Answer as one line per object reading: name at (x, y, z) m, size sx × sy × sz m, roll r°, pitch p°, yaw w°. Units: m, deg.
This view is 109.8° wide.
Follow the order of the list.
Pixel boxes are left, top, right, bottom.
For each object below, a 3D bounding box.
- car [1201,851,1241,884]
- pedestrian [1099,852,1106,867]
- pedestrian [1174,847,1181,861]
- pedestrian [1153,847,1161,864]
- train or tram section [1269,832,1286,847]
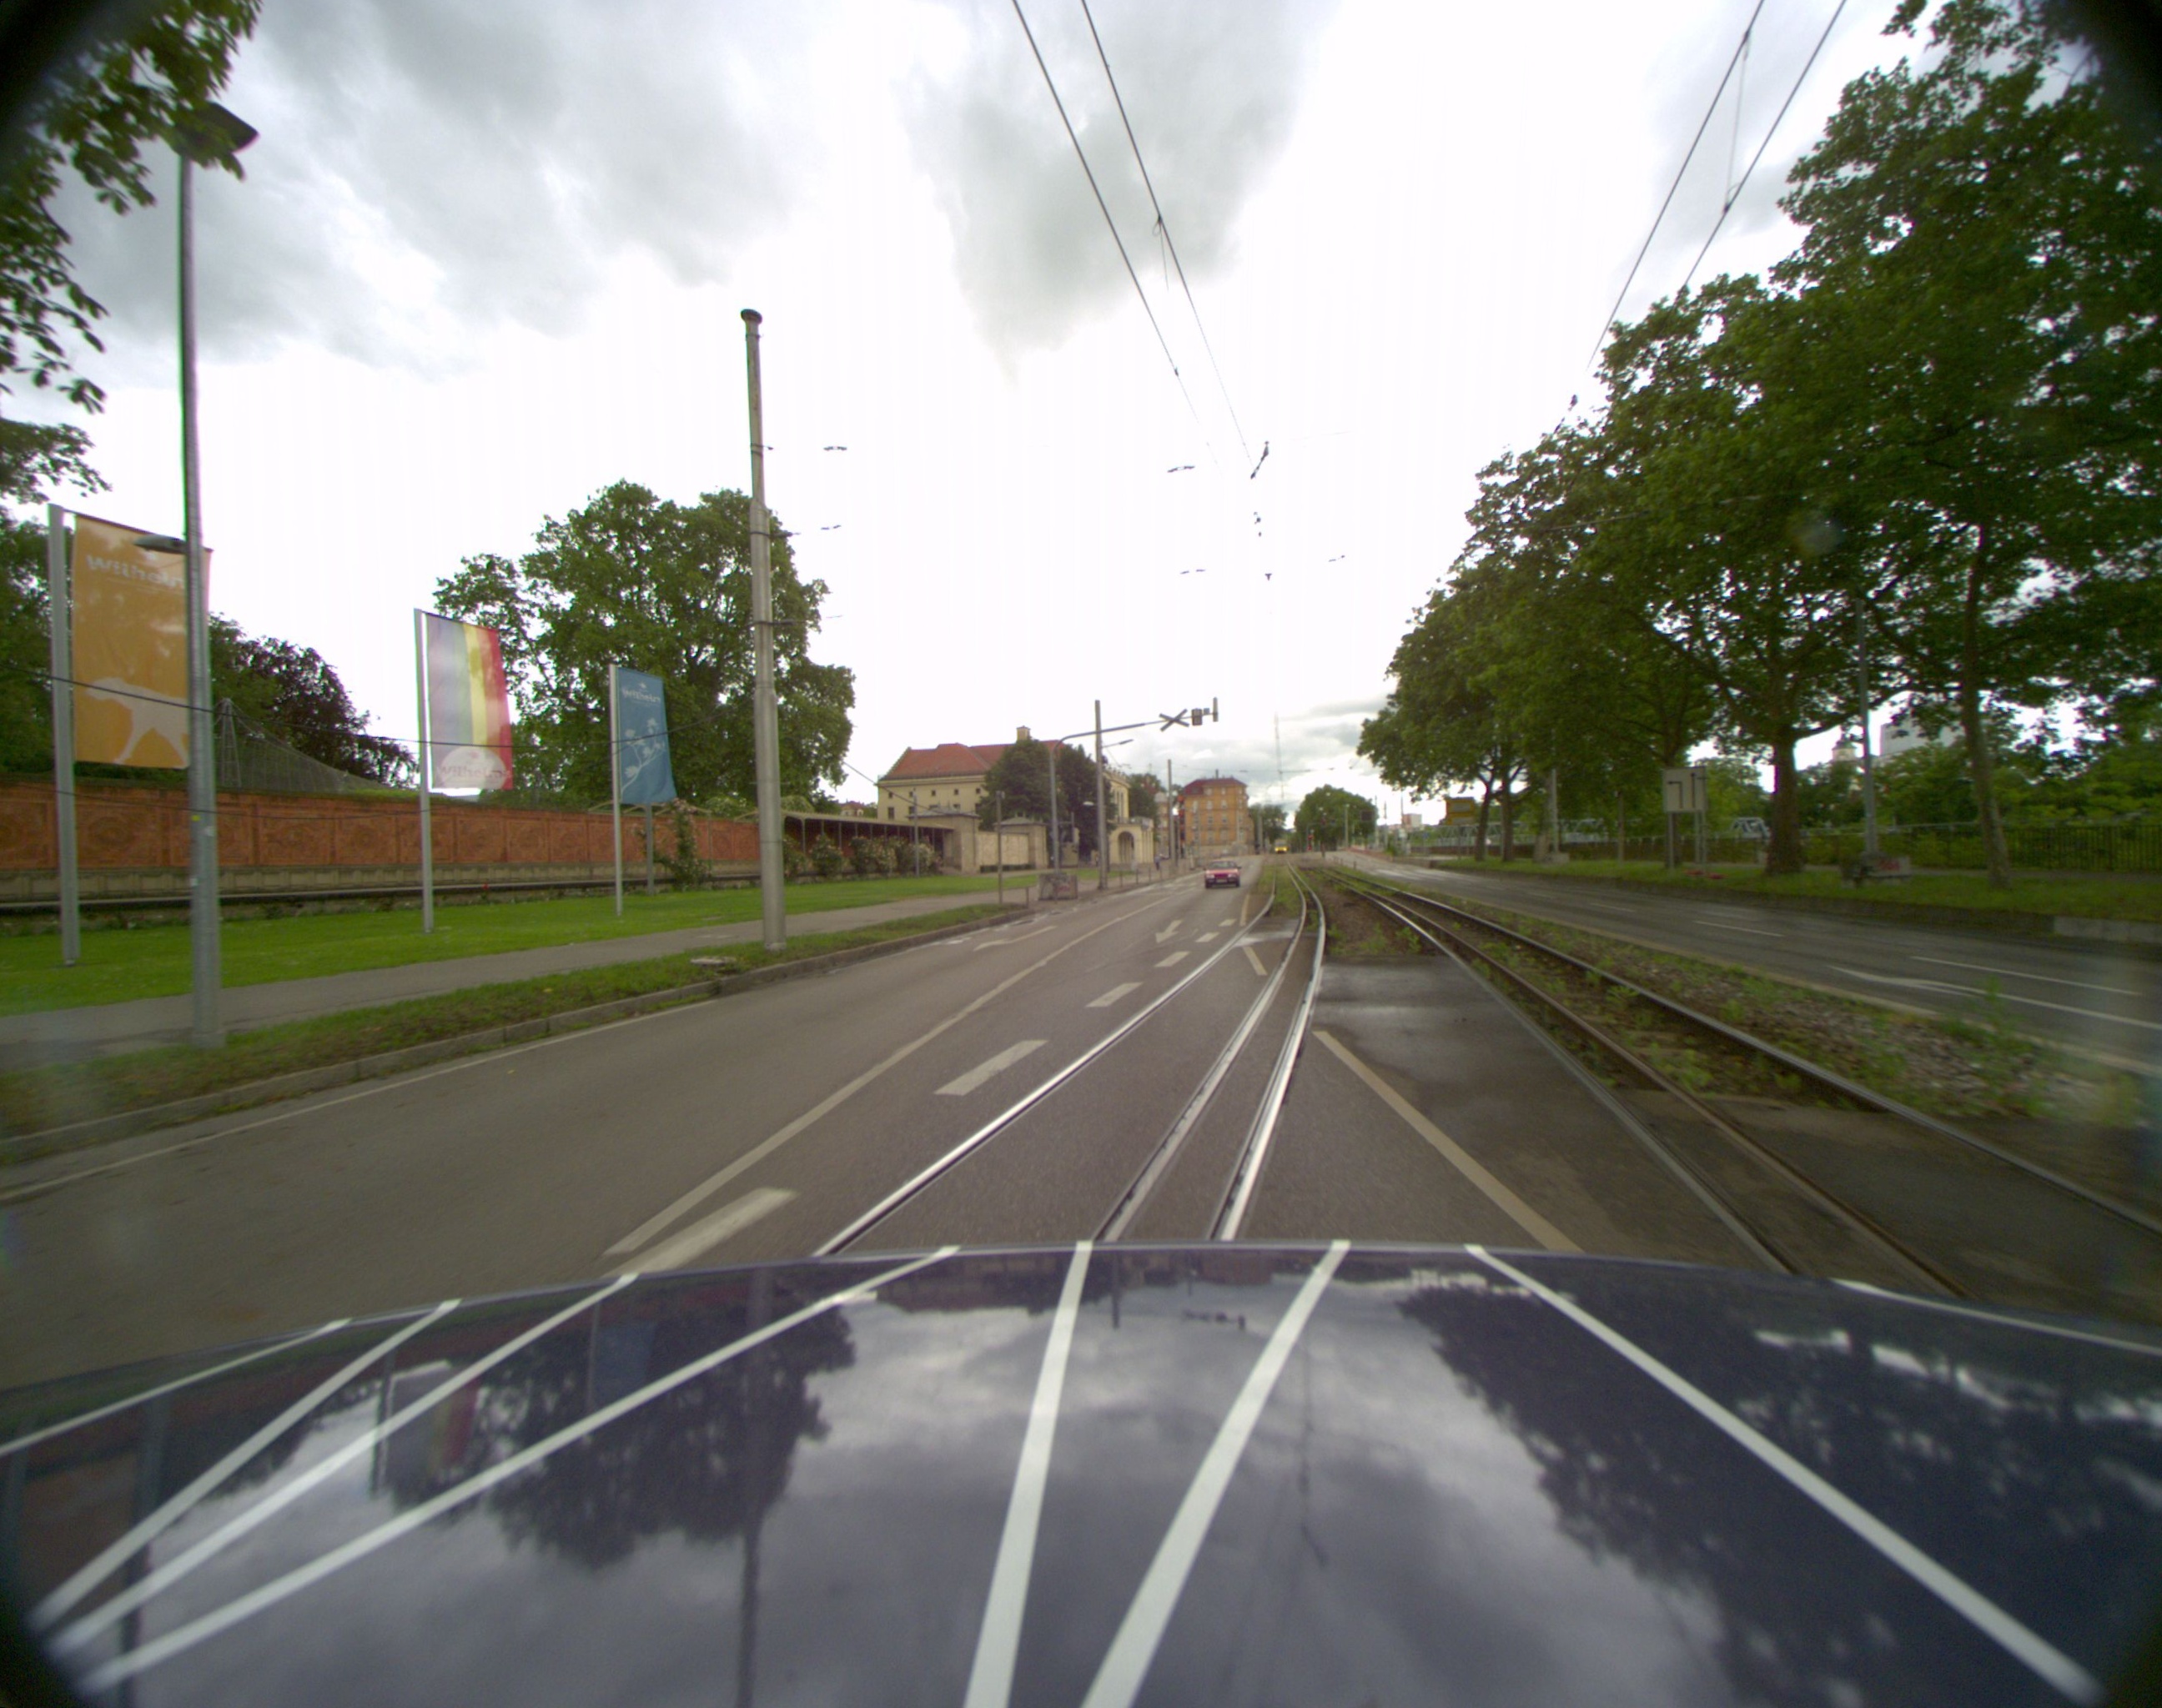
car at (7.127, 0.647, 38.377) m, size 1.679 × 1.433 × 4.124 m, roll -4°, pitch -1°, yaw 14°
pedestrian at (2.433, 0.630, 86.698) m, size 0.596 × 1.782 × 0.809 m, roll -1°, pitch 1°, yaw 14°
pedestrian at (12.447, 0.031, 98.050) m, size 0.671 × 1.757 × 0.938 m, roll -1°, pitch 1°, yaw 14°
pedestrian at (8.143, 0.167, 81.493) m, size 0.671 × 1.757 × 0.938 m, roll -1°, pitch 1°, yaw 14°
train or tram section at (48.123, -3.592, 186.252) m, size 3.735 × 3.346 × 17.571 m, roll -1°, pitch 1°, yaw 13°
